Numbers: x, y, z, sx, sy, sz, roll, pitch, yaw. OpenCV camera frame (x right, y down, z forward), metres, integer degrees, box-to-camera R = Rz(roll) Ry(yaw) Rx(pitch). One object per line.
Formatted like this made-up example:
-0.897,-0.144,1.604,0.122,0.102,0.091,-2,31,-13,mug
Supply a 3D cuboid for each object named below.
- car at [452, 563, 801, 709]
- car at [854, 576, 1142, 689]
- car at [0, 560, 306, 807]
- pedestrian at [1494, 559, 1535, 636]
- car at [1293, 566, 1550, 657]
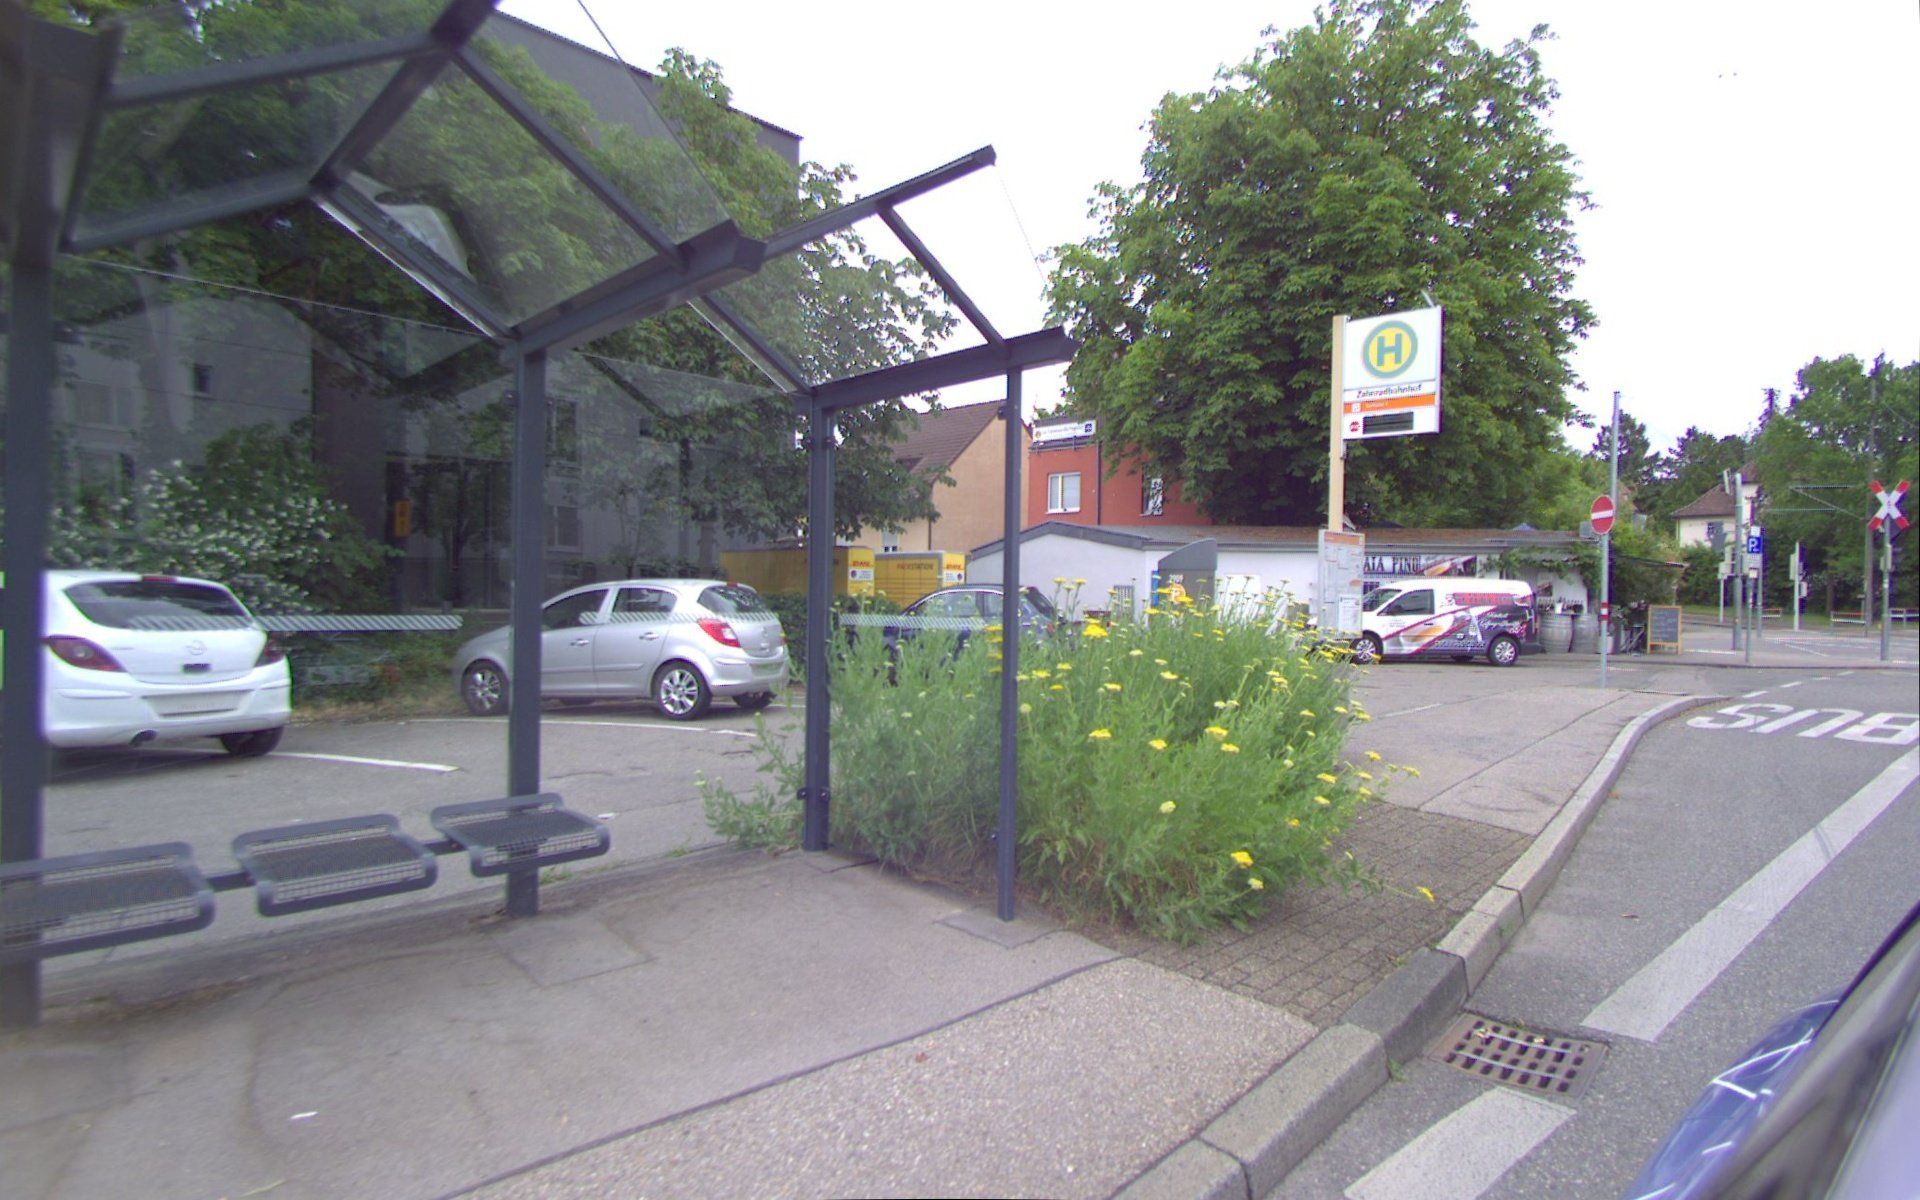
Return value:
-3.693,0.346,11.302,3.472,1.395,1.537,2,-1,19,car
0.606,0.409,15.042,3.946,1.495,1.869,0,1,18,car
-6.994,0.471,7.771,3.609,1.452,1.580,2,3,23,car
13.825,-0.054,25.239,0.684,1.881,0.614,3,0,43,pedestrian
9.726,0.223,21.567,4.603,1.770,1.853,1,0,-3,car
